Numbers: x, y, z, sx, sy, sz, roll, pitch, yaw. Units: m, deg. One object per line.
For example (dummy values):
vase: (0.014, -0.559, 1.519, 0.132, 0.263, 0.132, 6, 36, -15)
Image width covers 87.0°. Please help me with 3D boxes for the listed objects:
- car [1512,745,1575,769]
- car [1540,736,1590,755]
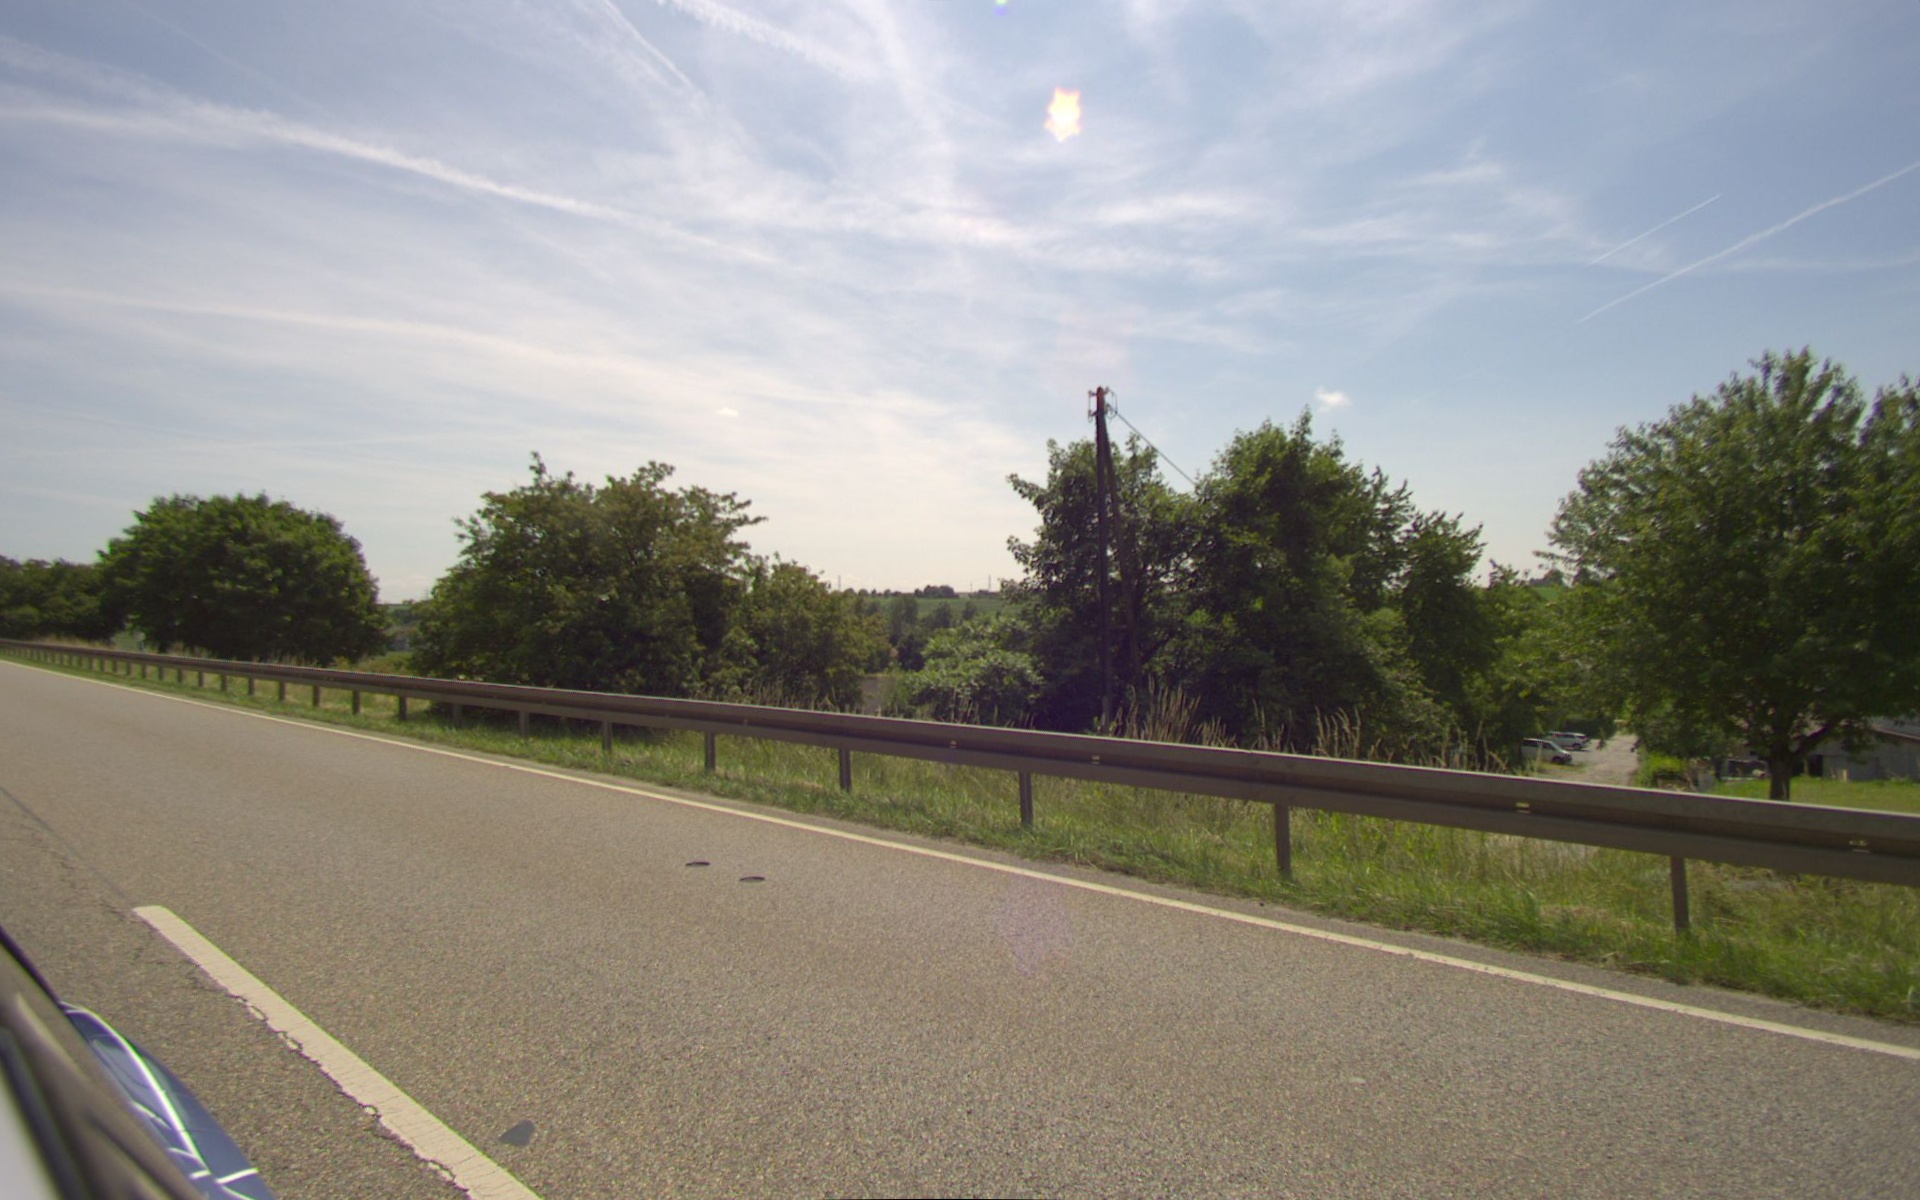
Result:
car: (50.338, 13.527, 87.340, 4.496, 1.697, 1.973, -1, -6, 41)
car: (66.962, 16.112, 112.087, 4.495, 1.697, 1.973, -1, -7, 40)
